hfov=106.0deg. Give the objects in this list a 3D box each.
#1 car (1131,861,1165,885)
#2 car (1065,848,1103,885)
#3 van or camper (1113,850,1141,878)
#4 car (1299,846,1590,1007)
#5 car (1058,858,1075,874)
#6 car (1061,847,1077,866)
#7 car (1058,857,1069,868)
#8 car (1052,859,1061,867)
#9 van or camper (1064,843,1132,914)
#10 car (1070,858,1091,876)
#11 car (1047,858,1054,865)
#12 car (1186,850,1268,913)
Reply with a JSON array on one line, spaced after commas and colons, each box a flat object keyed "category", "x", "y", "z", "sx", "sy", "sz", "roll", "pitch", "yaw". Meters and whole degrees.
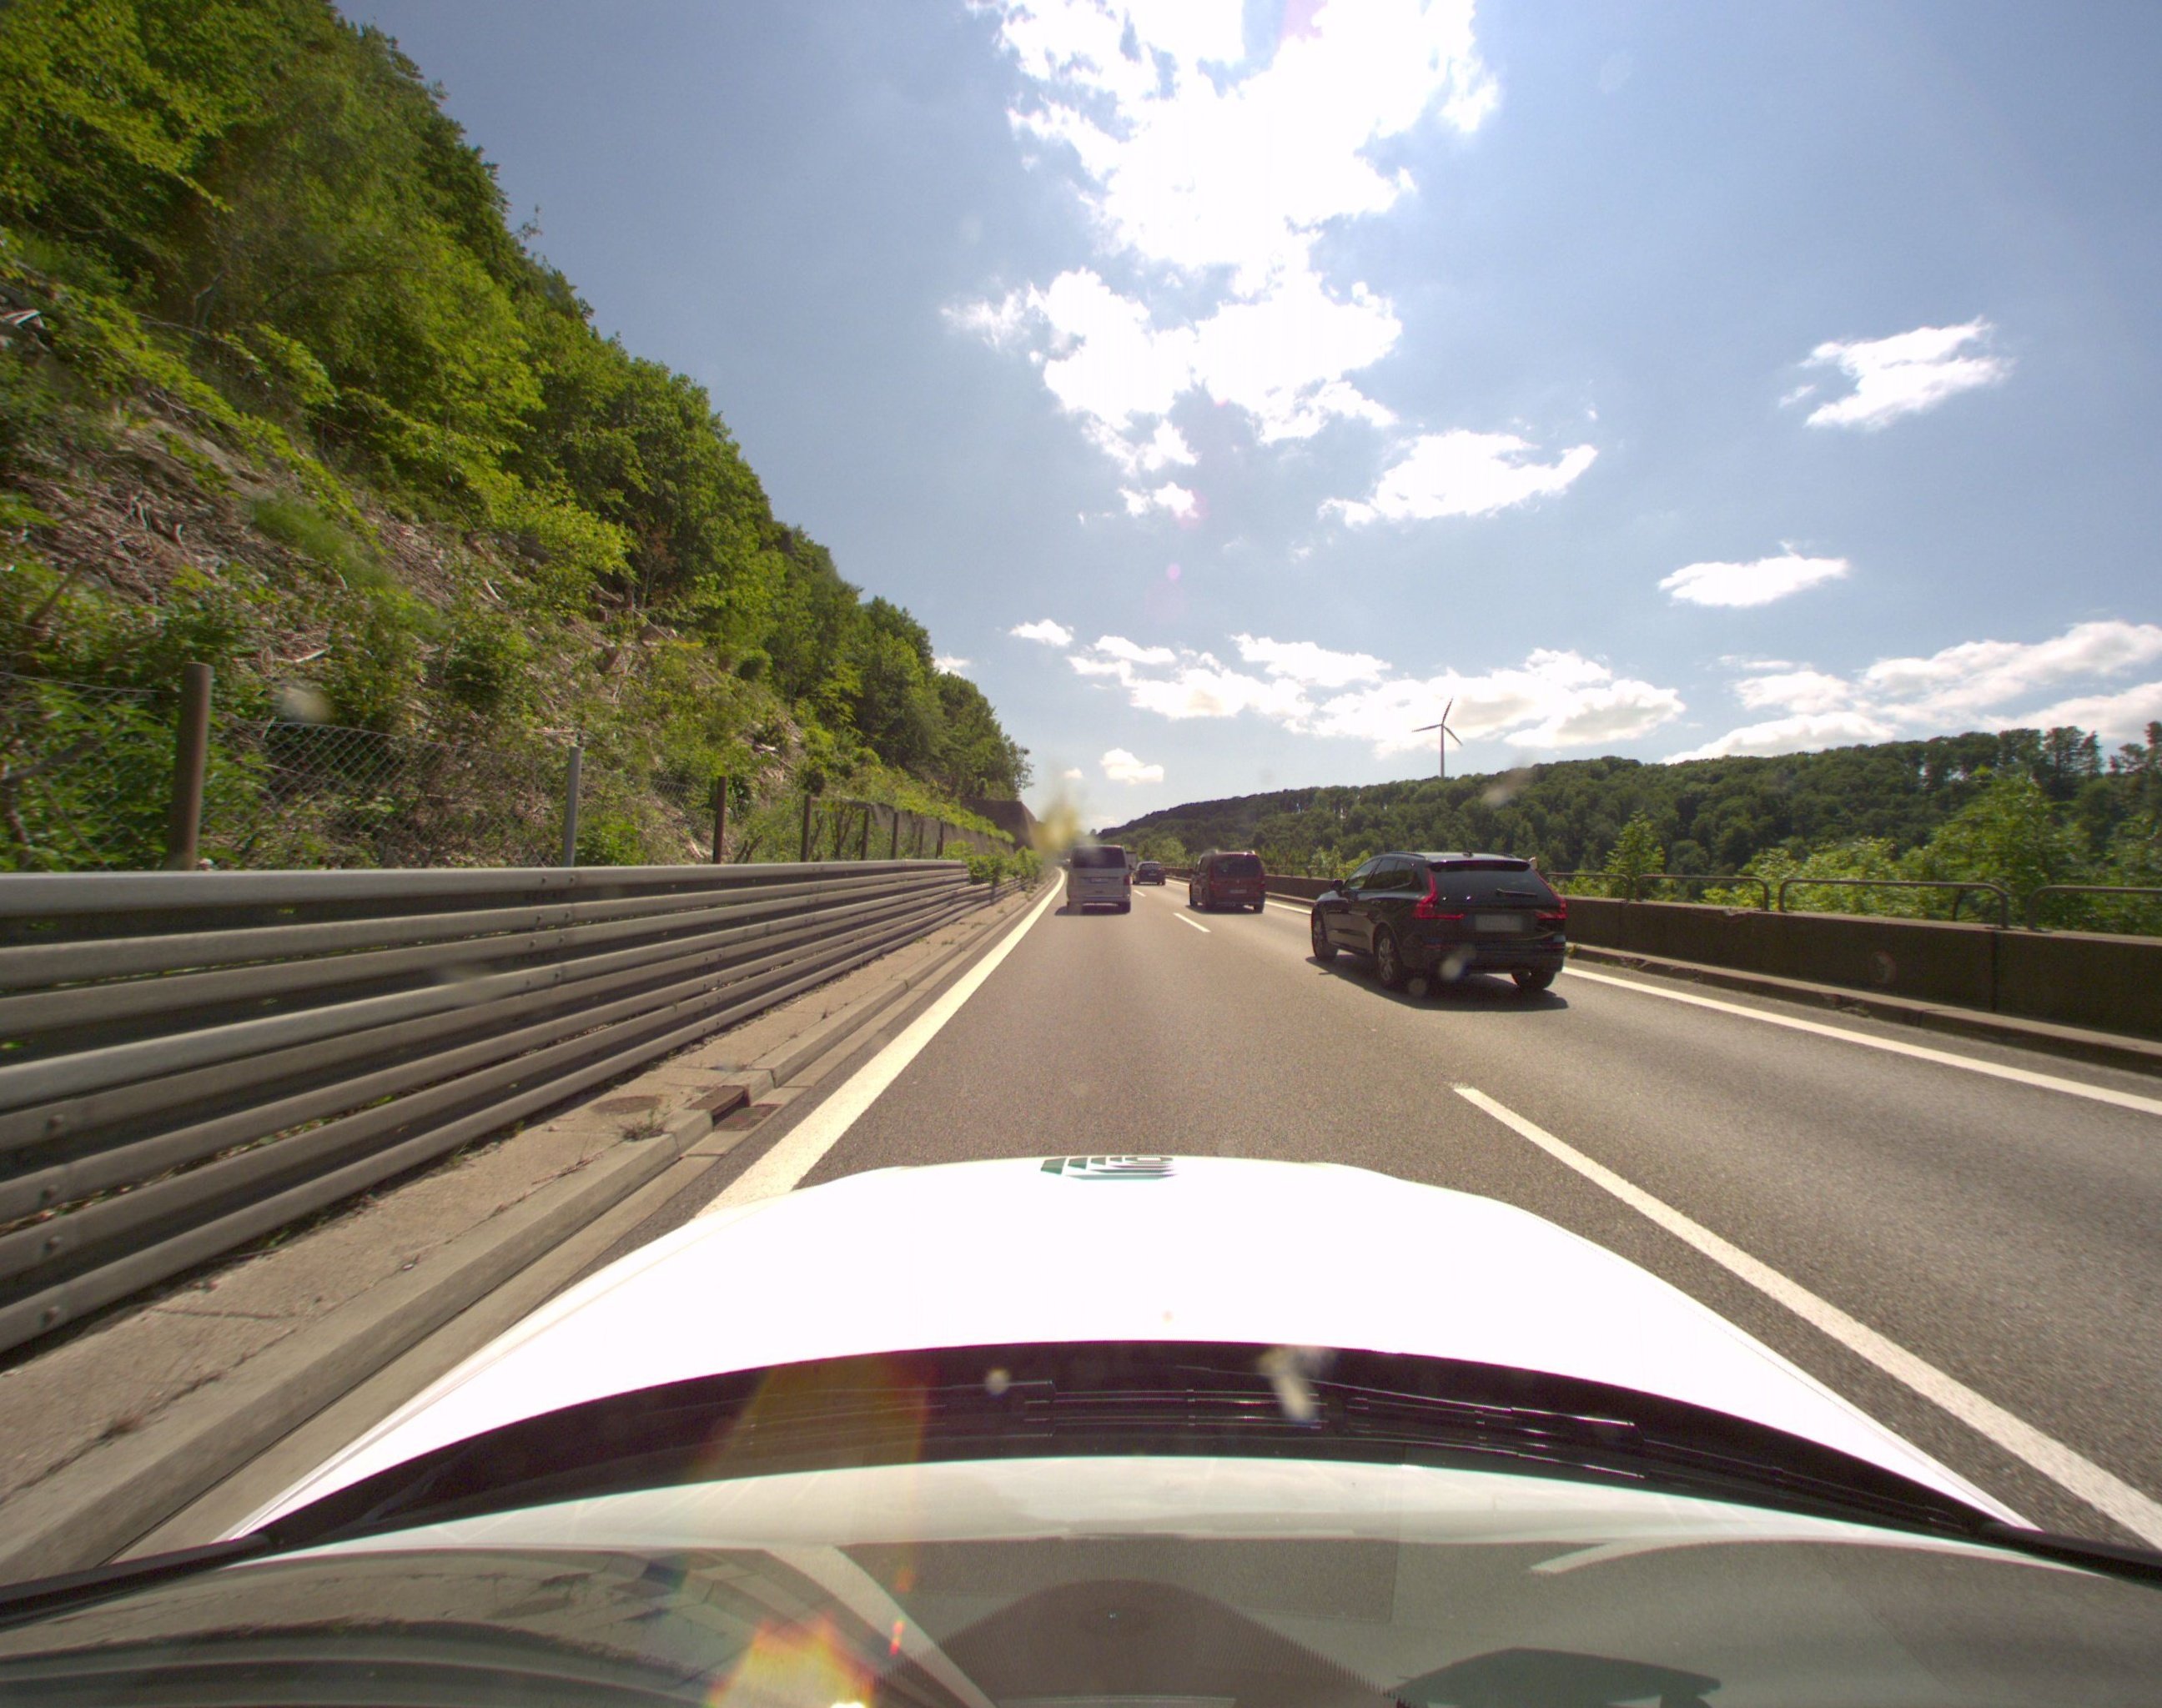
[{"category": "car", "x": 4.113, "y": 1.165, "z": 50.600, "sx": 1.763, "sy": 1.376, "sz": 3.592, "roll": -1, "pitch": -1, "yaw": 0}, {"category": "car", "x": 0.210, "y": 0.738, "z": 47.558, "sx": 1.985, "sy": 2.014, "sz": 4.003, "roll": -1, "pitch": -1, "yaw": 3}, {"category": "van or camper", "x": 4.368, "y": 0.933, "z": 78.630, "sx": 2.258, "sy": 2.551, "sz": 4.732, "roll": -1, "pitch": -1, "yaw": -2}, {"category": "car", "x": 4.454, "y": 0.742, "z": 10.901, "sx": 1.829, "sy": 1.633, "sz": 4.662, "roll": -1, "pitch": 1, "yaw": 0}, {"category": "car", "x": -1.778, "y": 1.499, "z": 103.473, "sx": 1.986, "sy": 1.915, "sz": 4.000, "roll": 0, "pitch": -1, "yaw": 1}, {"category": "car", "x": -3.106, "y": 0.707, "z": 213.183, "sx": 4.032, "sy": 4.871, "sz": 10.103, "roll": -1, "pitch": -1, "yaw": -1}, {"category": "car", "x": -3.506, "y": 1.762, "z": 164.309, "sx": 1.987, "sy": 2.014, "sz": 3.999, "roll": -1, "pitch": -1, "yaw": 0}, {"category": "car", "x": -5.526, "y": 2.090, "z": 182.469, "sx": 1.840, "sy": 1.750, "sz": 3.998, "roll": 0, "pitch": -1, "yaw": -1}, {"category": "van or camper", "x": 0.516, "y": 0.732, "z": 25.104, "sx": 1.869, "sy": 1.949, "sz": 4.293, "roll": -1, "pitch": -1, "yaw": 1}, {"category": "car", "x": -0.092, "y": 1.371, "z": 87.357, "sx": 1.989, "sy": 1.818, "sz": 3.994, "roll": 0, "pitch": -1, "yaw": -4}, {"category": "car", "x": -7.646, "y": 1.956, "z": 204.524, "sx": 1.842, "sy": 1.750, "sz": 3.995, "roll": -1, "pitch": -1, "yaw": -4}, {"category": "car", "x": 4.513, "y": 0.831, "z": 25.838, "sx": 1.827, "sy": 1.784, "sz": 4.676, "roll": -1, "pitch": -1, "yaw": 1}]
